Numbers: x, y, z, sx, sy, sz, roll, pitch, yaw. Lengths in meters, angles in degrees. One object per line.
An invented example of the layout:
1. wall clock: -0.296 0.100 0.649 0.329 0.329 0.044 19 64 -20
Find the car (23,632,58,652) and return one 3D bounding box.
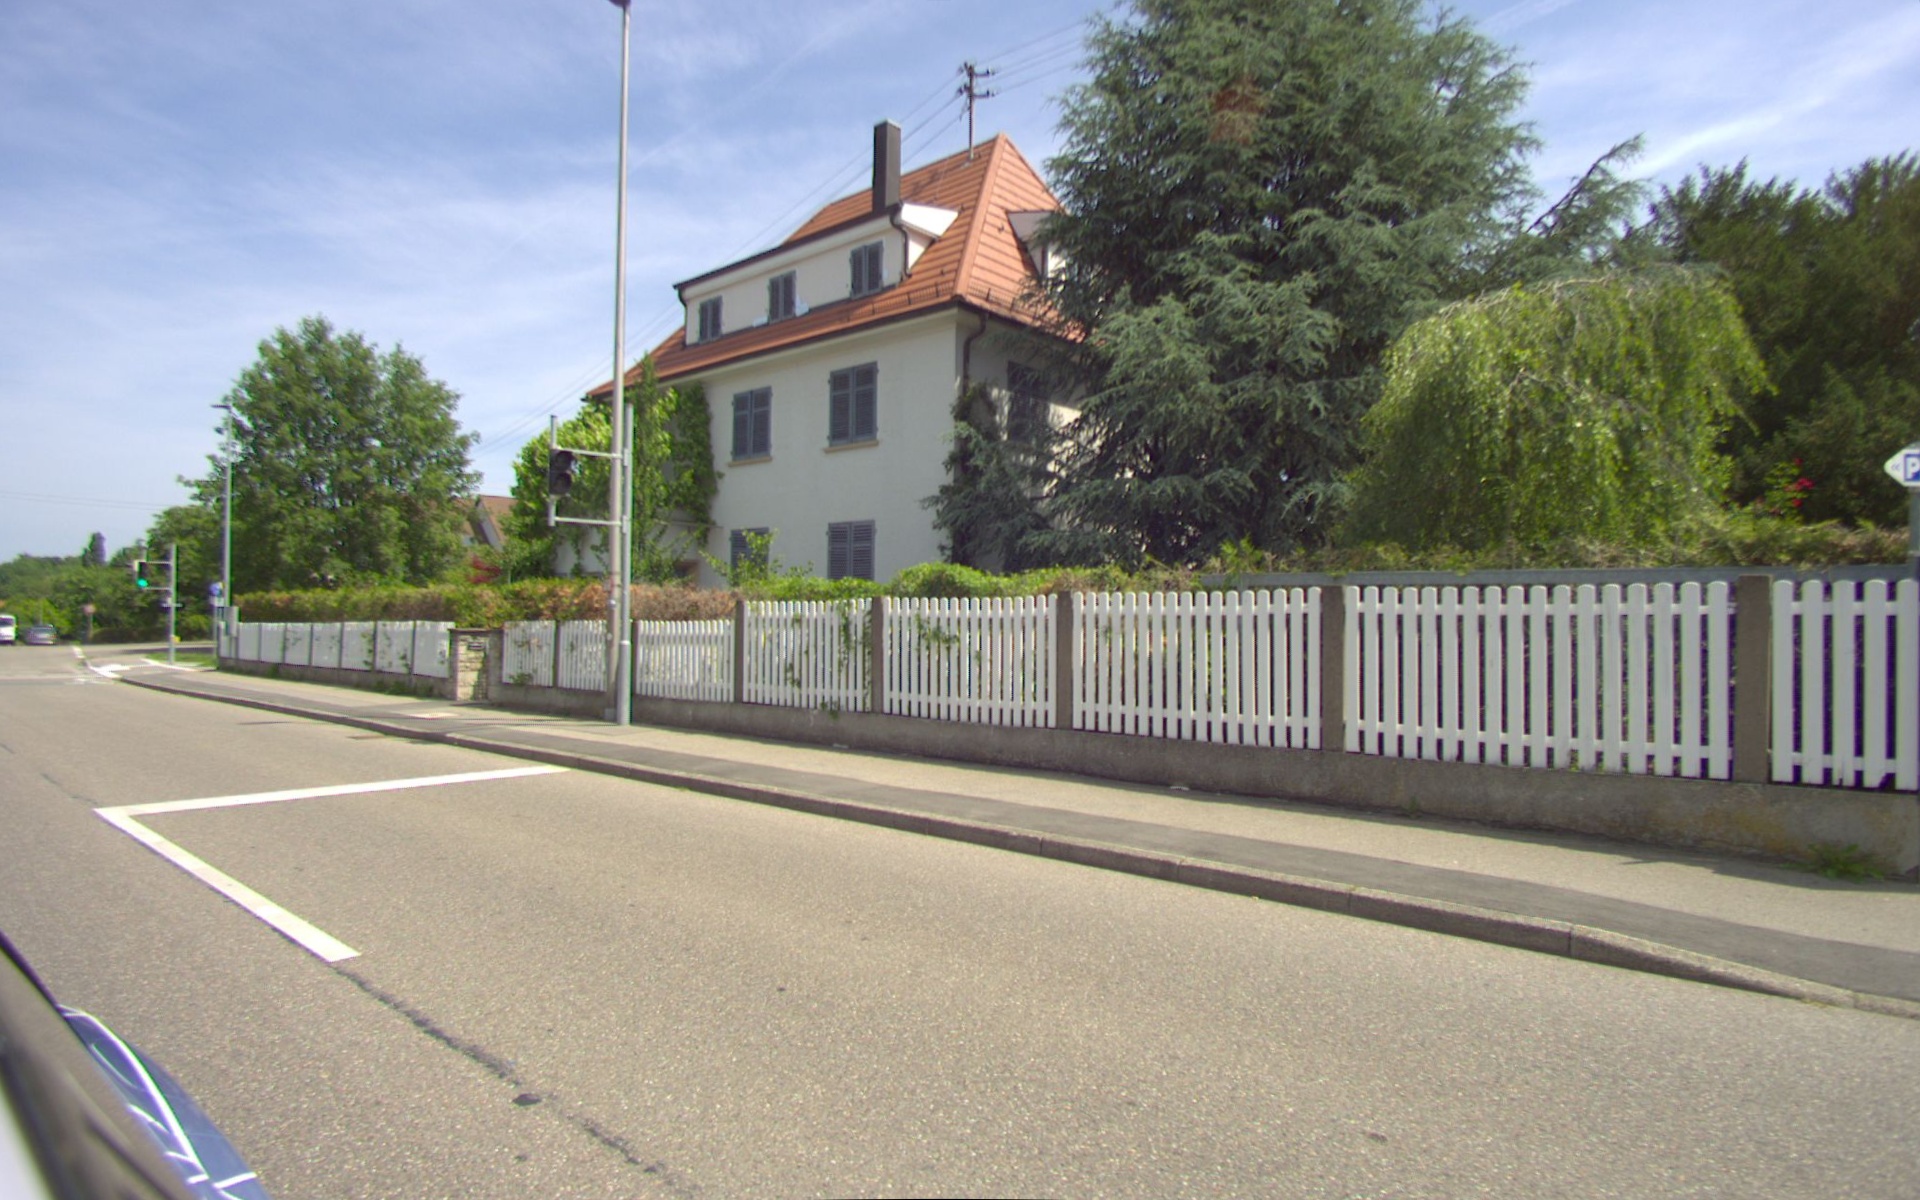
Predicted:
1. car: -66.247 2.991 72.920 1.758 1.405 4.414 3 -3 -42

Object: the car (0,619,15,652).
1. car: -62.794 2.276 65.814 1.857 1.980 4.906 2 -1 -44

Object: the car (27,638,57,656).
1. car: -82.973 4.237 91.459 1.790 1.561 4.245 2 -4 -44
